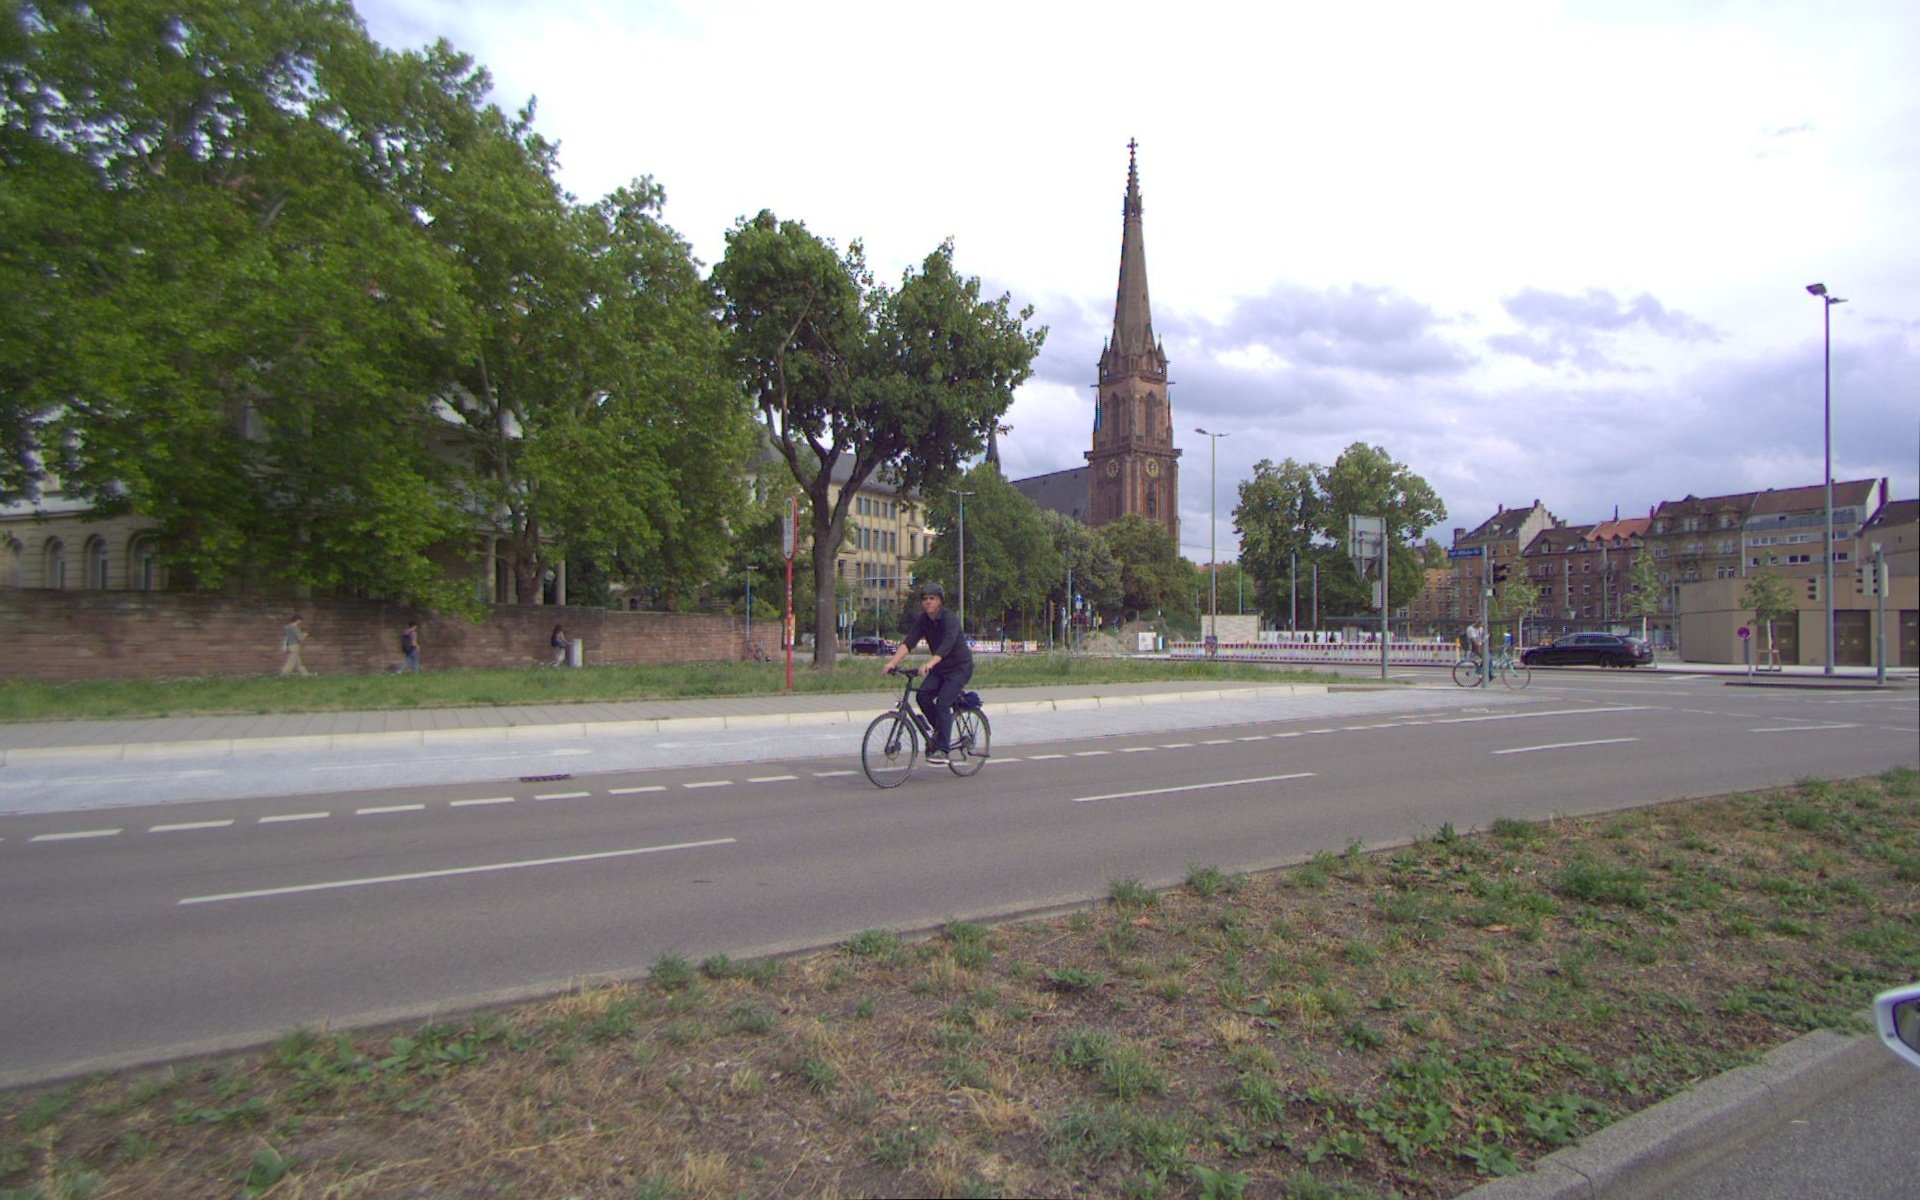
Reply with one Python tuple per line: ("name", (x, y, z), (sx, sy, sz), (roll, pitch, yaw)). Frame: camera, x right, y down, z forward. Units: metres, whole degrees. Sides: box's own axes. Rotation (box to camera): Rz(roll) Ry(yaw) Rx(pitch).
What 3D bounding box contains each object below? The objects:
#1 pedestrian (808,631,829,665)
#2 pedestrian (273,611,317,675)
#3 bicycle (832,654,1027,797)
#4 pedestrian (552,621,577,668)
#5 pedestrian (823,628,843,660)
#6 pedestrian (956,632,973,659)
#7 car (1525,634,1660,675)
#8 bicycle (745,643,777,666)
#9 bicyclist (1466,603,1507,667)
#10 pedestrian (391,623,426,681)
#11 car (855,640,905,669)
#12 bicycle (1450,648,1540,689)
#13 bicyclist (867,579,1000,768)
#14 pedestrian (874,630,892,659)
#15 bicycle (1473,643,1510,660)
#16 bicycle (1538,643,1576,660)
("pedestrian", (-7.462, 2.536, 52.946), (0.790, 1.734, 0.833), (2, 0, -28))
("pedestrian", (-17.859, 1.147, 26.989), (0.565, 1.676, 0.782), (2, 0, 7))
("bicycle", (-0.240, 1.166, 9.880), (0.747, 1.204, 2.090), (-3, -3, 37))
("pedestrian", (-14.410, 1.601, 36.622), (0.522, 1.676, 0.629), (2, 0, 26))
("pedestrian", (-7.030, 2.420, 55.489), (0.790, 1.734, 0.833), (2, 0, -28))
("pedestrian", (0.300, 2.985, 66.121), (0.790, 1.734, 0.833), (2, 0, -28))
("car", (25.650, 2.177, 40.862), (1.978, 1.379, 4.237), (2, 0, -32))
("bicycle", (-9.865, 2.695, 49.742), (0.763, 1.018, 1.927), (2, 0, 15))
("bicyclist", (13.364, 0.887, 25.507), (0.782, 1.575, 0.580), (2, -2, 13))
("pedestrian", (-16.472, 1.555, 30.018), (0.566, 1.676, 0.782), (2, 0, 0))
("car", (-6.281, 4.237, 79.047), (1.984, 2.040, 3.953), (2, 0, -40))
("bicycle", (13.512, 1.729, 25.422), (1.932, 0.948, 0.506), (2, -2, 13))
("bicyclist", (-0.252, 0.702, 9.905), (0.766, 1.733, 1.081), (-3, -3, 38))
("pedestrian", (-4.613, 2.671, 60.195), (0.790, 1.734, 0.833), (2, 0, -28))
("bicycle", (33.607, 3.260, 63.520), (1.927, 0.968, 0.584), (2, 0, 19))
("bicycle", (37.679, 3.261, 63.418), (1.927, 0.983, 0.584), (2, 0, 19))
